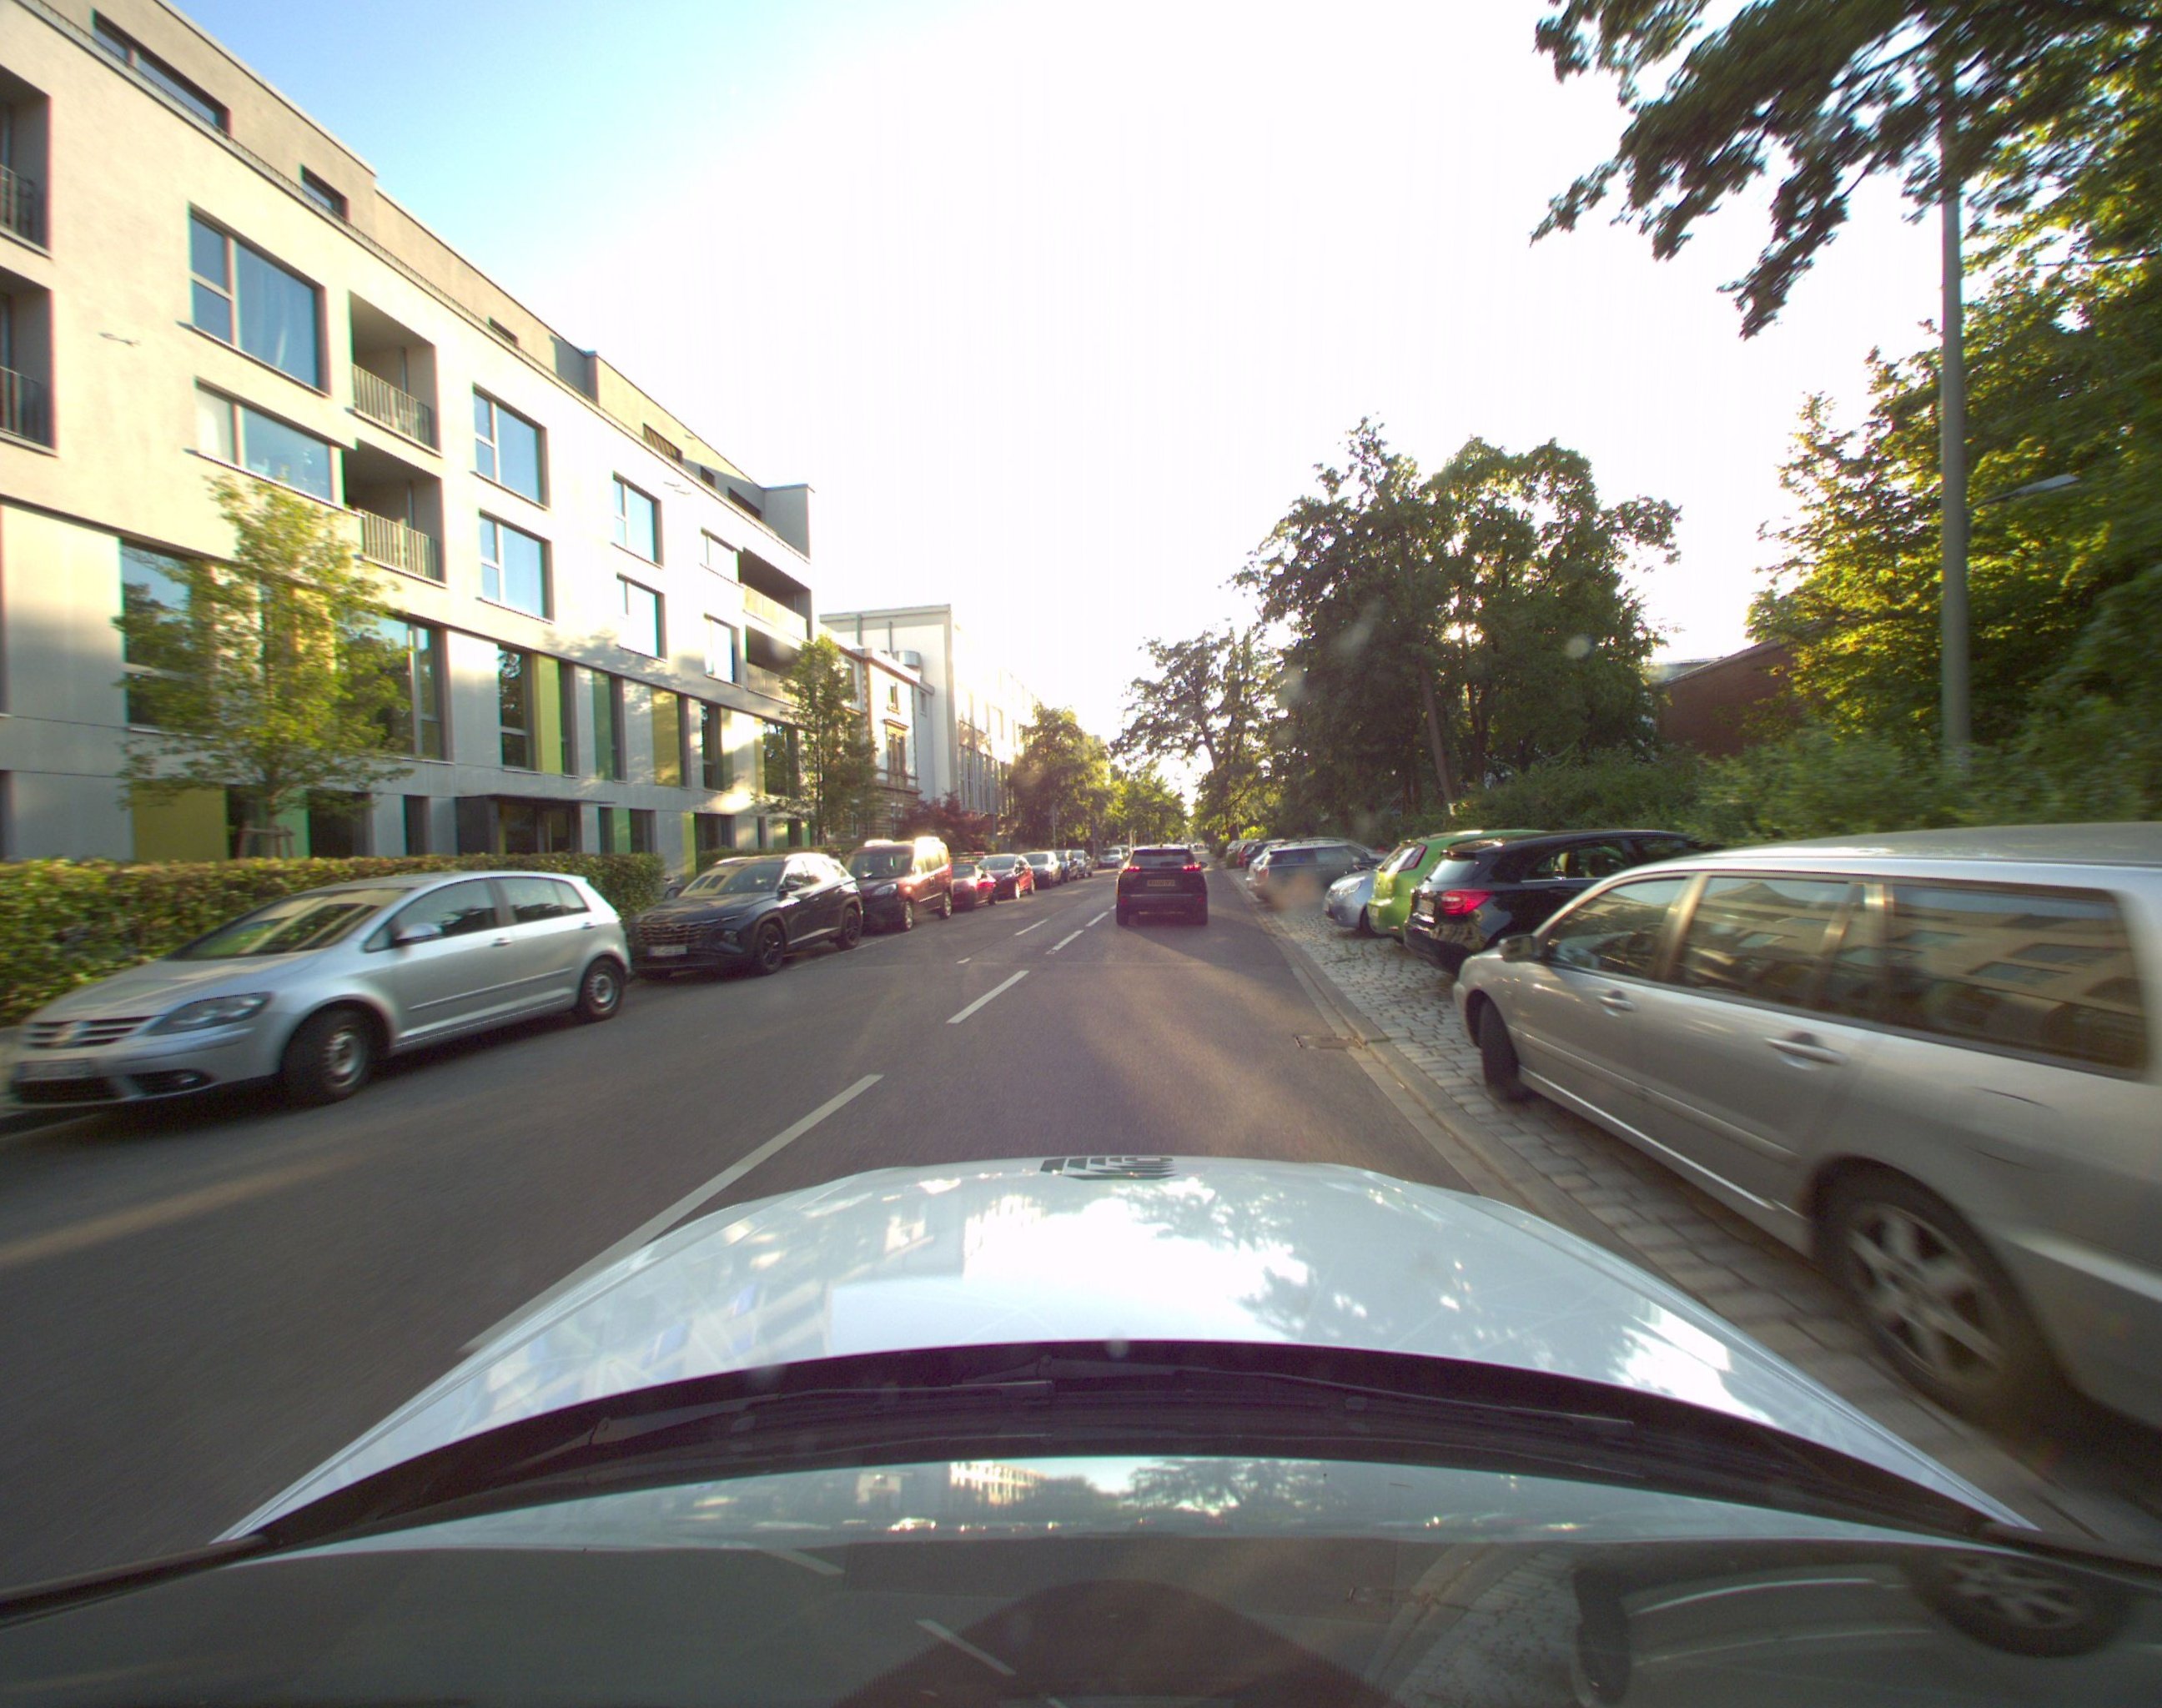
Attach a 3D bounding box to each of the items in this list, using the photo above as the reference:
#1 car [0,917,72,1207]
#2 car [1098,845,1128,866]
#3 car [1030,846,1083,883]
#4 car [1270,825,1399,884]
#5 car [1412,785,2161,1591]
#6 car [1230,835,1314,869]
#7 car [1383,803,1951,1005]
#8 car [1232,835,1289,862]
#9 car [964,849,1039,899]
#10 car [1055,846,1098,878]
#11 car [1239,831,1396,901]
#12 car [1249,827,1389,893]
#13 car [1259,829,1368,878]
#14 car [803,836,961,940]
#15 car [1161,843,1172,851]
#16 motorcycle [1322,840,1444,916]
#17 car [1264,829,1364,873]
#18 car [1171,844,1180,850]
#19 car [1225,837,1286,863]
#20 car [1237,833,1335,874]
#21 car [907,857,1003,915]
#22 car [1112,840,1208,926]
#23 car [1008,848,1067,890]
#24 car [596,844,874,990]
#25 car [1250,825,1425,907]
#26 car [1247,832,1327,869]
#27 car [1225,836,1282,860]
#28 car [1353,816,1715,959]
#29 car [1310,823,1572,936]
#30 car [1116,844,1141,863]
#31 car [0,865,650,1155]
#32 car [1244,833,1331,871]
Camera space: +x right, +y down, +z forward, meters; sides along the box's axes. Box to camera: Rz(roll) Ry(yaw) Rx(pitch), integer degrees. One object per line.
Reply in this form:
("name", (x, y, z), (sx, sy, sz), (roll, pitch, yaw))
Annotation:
("car", (-6.317, 1.075, 2.051), (1.732, 1.356, 4.407), (-3, 0, 8))
("car", (2.385, 0.088, 60.229), (1.661, 1.493, 4.072), (-2, 1, 9))
("car", (-1.095, 0.454, 38.133), (1.588, 1.507, 3.798), (-4, 1, 10))
("car", (8.235, 0.020, 26.726), (3.704, 1.498, 1.824), (-6, -1, 8))
("car", (2.989, 0.591, 3.351), (1.644, 1.567, 4.305), (-3, 0, 3))
("car", (10.456, -0.123, 44.816), (4.312, 1.475, 1.747), (-5, 1, 9))
("car", (5.108, 0.432, 7.633), (3.927, 1.512, 1.743), (-3, 0, 7))
("car", (12.218, -0.351, 55.528), (3.569, 1.566, 1.822), (-4, -1, 7))
("car", (-2.578, 0.619, 27.277), (1.590, 1.455, 3.870), (-3, 1, 7))
("car", (-0.174, 0.384, 42.911), (1.591, 1.493, 3.782), (-4, 1, 9))
("car", (6.170, 0.297, 21.610), (3.647, 1.444, 1.738), (-6, 0, 6))
("car", (6.996, 0.157, 24.206), (3.647, 1.552, 1.738), (-6, 0, 6))
("car", (8.986, -0.014, 31.708), (3.785, 1.474, 1.761), (-6, -1, 8))
("car", (-4.160, 0.622, 17.801), (1.797, 1.889, 4.247), (-4, 1, 7))
("car", (15.619, -1.219, 148.459), (1.802, 1.354, 4.004), (-3, 1, 4))
("motorcycle", (5.827, 0.458, 15.837), (2.077, 1.304, 0.781), (-4, 0, 14))
("car", (9.789, -0.121, 34.455), (3.785, 1.474, 1.836), (-6, -1, 8))
("car", (21.809, -1.586, 188.168), (1.802, 1.354, 3.984), (-3, 1, 5))
("car", (12.394, -0.294, 58.014), (4.098, 1.667, 1.727), (-3, 0, 8))
("car", (9.305, -0.047, 37.222), (4.095, 1.474, 1.837), (-5, 0, 9))
("car", (-3.390, 0.819, 22.539), (1.548, 1.280, 3.741), (-4, 1, 7))
("car", (1.692, 0.509, 16.706), (1.758, 1.568, 3.388), (0, 1, 8))
("car", (-1.719, 0.582, 33.396), (1.590, 1.455, 4.064), (-4, 1, 7))
("car", (-4.873, 0.762, 12.311), (1.732, 1.676, 4.426), (-4, 1, 7))
("car", (5.946, 0.265, 19.217), (3.591, 1.525, 1.675), (-6, 0, 6))
("car", (10.714, -0.189, 42.598), (3.695, 1.555, 1.744), (-5, 0, 4))
("car", (13.272, -0.474, 62.686), (4.142, 1.710, 1.874), (-2, 1, 12))
("car", (5.472, 0.396, 10.265), (3.606, 1.540, 1.676), (-2, 1, 8))
("car", (5.498, 0.382, 12.801), (3.368, 1.525, 1.674), (-3, 0, 6))
("car", (4.245, -0.043, 72.169), (1.669, 1.457, 3.892), (-4, 1, 9))
("car", (-5.780, 0.961, 6.813), (1.733, 1.533, 4.123), (-3, 0, 6))
("car", (10.104, -0.108, 40.088), (3.900, 1.454, 1.837), (-5, 0, 9))
